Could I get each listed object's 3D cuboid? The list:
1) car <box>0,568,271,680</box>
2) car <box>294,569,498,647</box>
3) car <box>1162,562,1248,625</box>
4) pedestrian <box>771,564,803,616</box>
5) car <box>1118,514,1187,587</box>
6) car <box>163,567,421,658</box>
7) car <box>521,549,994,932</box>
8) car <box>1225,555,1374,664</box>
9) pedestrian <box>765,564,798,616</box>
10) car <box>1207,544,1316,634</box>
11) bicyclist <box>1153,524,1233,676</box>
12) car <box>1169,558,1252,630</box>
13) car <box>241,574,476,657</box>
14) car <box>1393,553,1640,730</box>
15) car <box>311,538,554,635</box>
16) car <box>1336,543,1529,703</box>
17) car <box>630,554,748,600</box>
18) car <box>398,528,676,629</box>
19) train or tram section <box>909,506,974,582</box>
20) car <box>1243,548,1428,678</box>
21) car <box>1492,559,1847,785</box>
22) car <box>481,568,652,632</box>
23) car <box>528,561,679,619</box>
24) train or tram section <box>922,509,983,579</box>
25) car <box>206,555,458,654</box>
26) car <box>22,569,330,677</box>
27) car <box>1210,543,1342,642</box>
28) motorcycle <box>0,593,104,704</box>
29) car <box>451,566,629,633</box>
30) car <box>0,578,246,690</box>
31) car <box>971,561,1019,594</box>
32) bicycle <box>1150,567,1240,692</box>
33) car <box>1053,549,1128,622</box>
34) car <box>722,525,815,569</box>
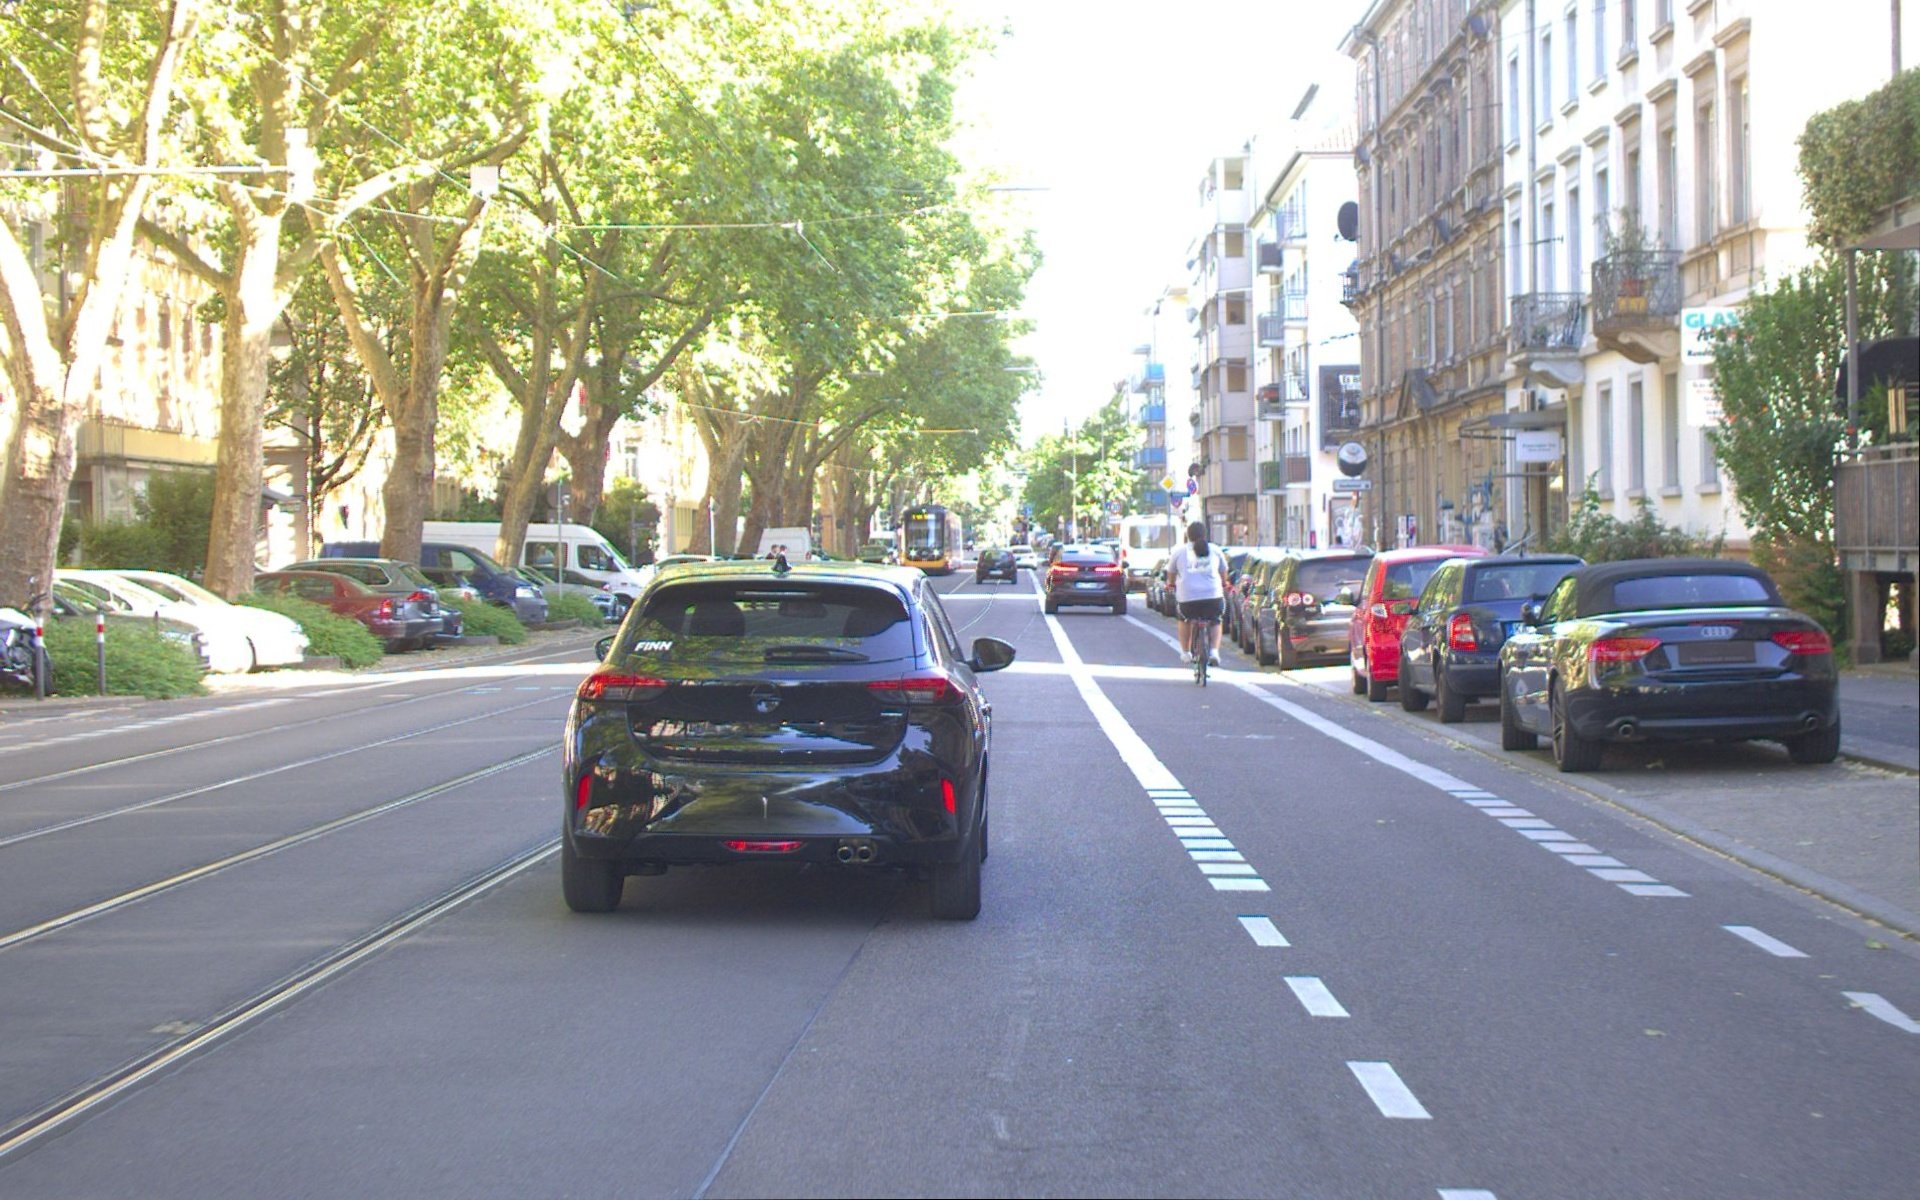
[{"bbox_3d":[-11.390,0.314,46.086,3.921,1.448,1.800,0,0,1],"label":"car"},{"bbox_3d":[-11.221,0.150,68.591,3.734,1.493,1.746,1,0,1],"label":"car"},{"bbox_3d":[5.715,-0.170,80.682,1.810,1.333,3.932,-4,0,2],"label":"car"},{"bbox_3d":[-5.304,-0.308,105.312,0.766,1.561,0.681,0,0,-30],"label":"pedestrian"},{"bbox_3d":[6.345,-1.638,113.959,2.076,2.211,4.933,-4,0,2],"label":"car"},{"bbox_3d":[-11.136,0.203,57.462,3.920,1.437,1.749,1,0,2],"label":"car"},{"bbox_3d":[-0.759,0.515,14.948,1.794,1.436,3.531,0,1,1],"label":"car"},{"bbox_3d":[5.081,0.124,51.818,1.798,1.451,3.768,-4,0,0],"label":"car"},{"bbox_3d":[-5.426,-0.299,104.506,0.766,1.561,0.681,0,0,-30],"label":"pedestrian"},{"bbox_3d":[5.482,-0.213,62.788,1.711,1.478,3.763,-4,0,2],"label":"car"},{"bbox_3d":[2.692,-0.010,39.854,0.848,1.734,1.162,0,0,0],"label":"bicyclist"},{"bbox_3d":[5.574,-0.146,76.381,1.705,1.451,3.696,-4,0,4],"label":"car"},{"bbox_3d":[-10.828,0.265,62.080,3.920,1.417,1.819,1,0,0],"label":"car"},{"bbox_3d":[4.966,0.338,31.116,1.651,1.451,3.868,-2,0,1],"label":"car"},{"bbox_3d":[-10.929,-0.280,71.420,4.675,1.917,1.980,1,0,3],"label":"car"},{"bbox_3d":[4.895,0.212,35.994,1.634,1.541,3.575,-2,0,2],"label":"car"},{"bbox_3d":[-9.247,-0.787,117.628,3.919,1.493,1.677,1,0,-1],"label":"car"},{"bbox_3d":[-10.603,-0.533,86.602,6.628,2.401,2.458,1,0,2],"label":"car"},{"bbox_3d":[-0.897,-2.837,176.629,2.735,3.669,12.715,-1,1,2],"label":"train or tram section"},{"bbox_3d":[5.113,0.163,47.272,1.880,1.580,3.933,-4,0,-2],"label":"car"},{"bbox_3d":[4.867,0.436,24.154,1.694,1.388,4.494,-2,0,2],"label":"car"},{"bbox_3d":[-9.617,-0.001,84.194,3.920,1.493,1.677,1,0,2],"label":"car"},{"bbox_3d":[-9.655,-0.279,93.212,3.919,1.493,1.677,1,0,-1],"label":"car"},{"bbox_3d":[-0.369,-3.055,189.295,2.735,3.669,12.715,-1,1,2],"label":"train or tram section"},{"bbox_3d":[-10.865,0.072,59.675,3.995,1.621,1.879,1,0,1],"label":"car"},{"bbox_3d":[-11.112,0.316,48.880,3.920,1.457,1.805,-1,0,2],"label":"car"},{"bbox_3d":[5.165,-0.137,56.672,1.880,1.451,4.025,-4,0,2],"label":"car"},{"bbox_3d":[-10.301,0.516,37.772,0.884,1.143,2.390,0,1,9],"label":"motorcycle"},{"bbox_3d":[-9.878,-0.012,80.974,3.920,1.493,1.677,1,0,3],"label":"car"},{"bbox_3d":[-11.205,0.411,43.502,3.920,1.328,1.847,1,0,2],"label":"car"},{"bbox_3d":[1.447,-0.918,139.574,1.810,1.334,3.932,0,1,2],"label":"car"},{"bbox_3d":[2.708,0.315,39.843,0.860,1.402,2.524,0,1,0],"label":"bicycle"},{"bbox_3d":[3.235,-0.374,85.048,1.810,1.736,3.932,-1,1,2],"label":"car"},{"bbox_3d":[-8.217,-2.276,147.950,3.919,1.784,1.677,1,0,-1],"label":"car"}]
